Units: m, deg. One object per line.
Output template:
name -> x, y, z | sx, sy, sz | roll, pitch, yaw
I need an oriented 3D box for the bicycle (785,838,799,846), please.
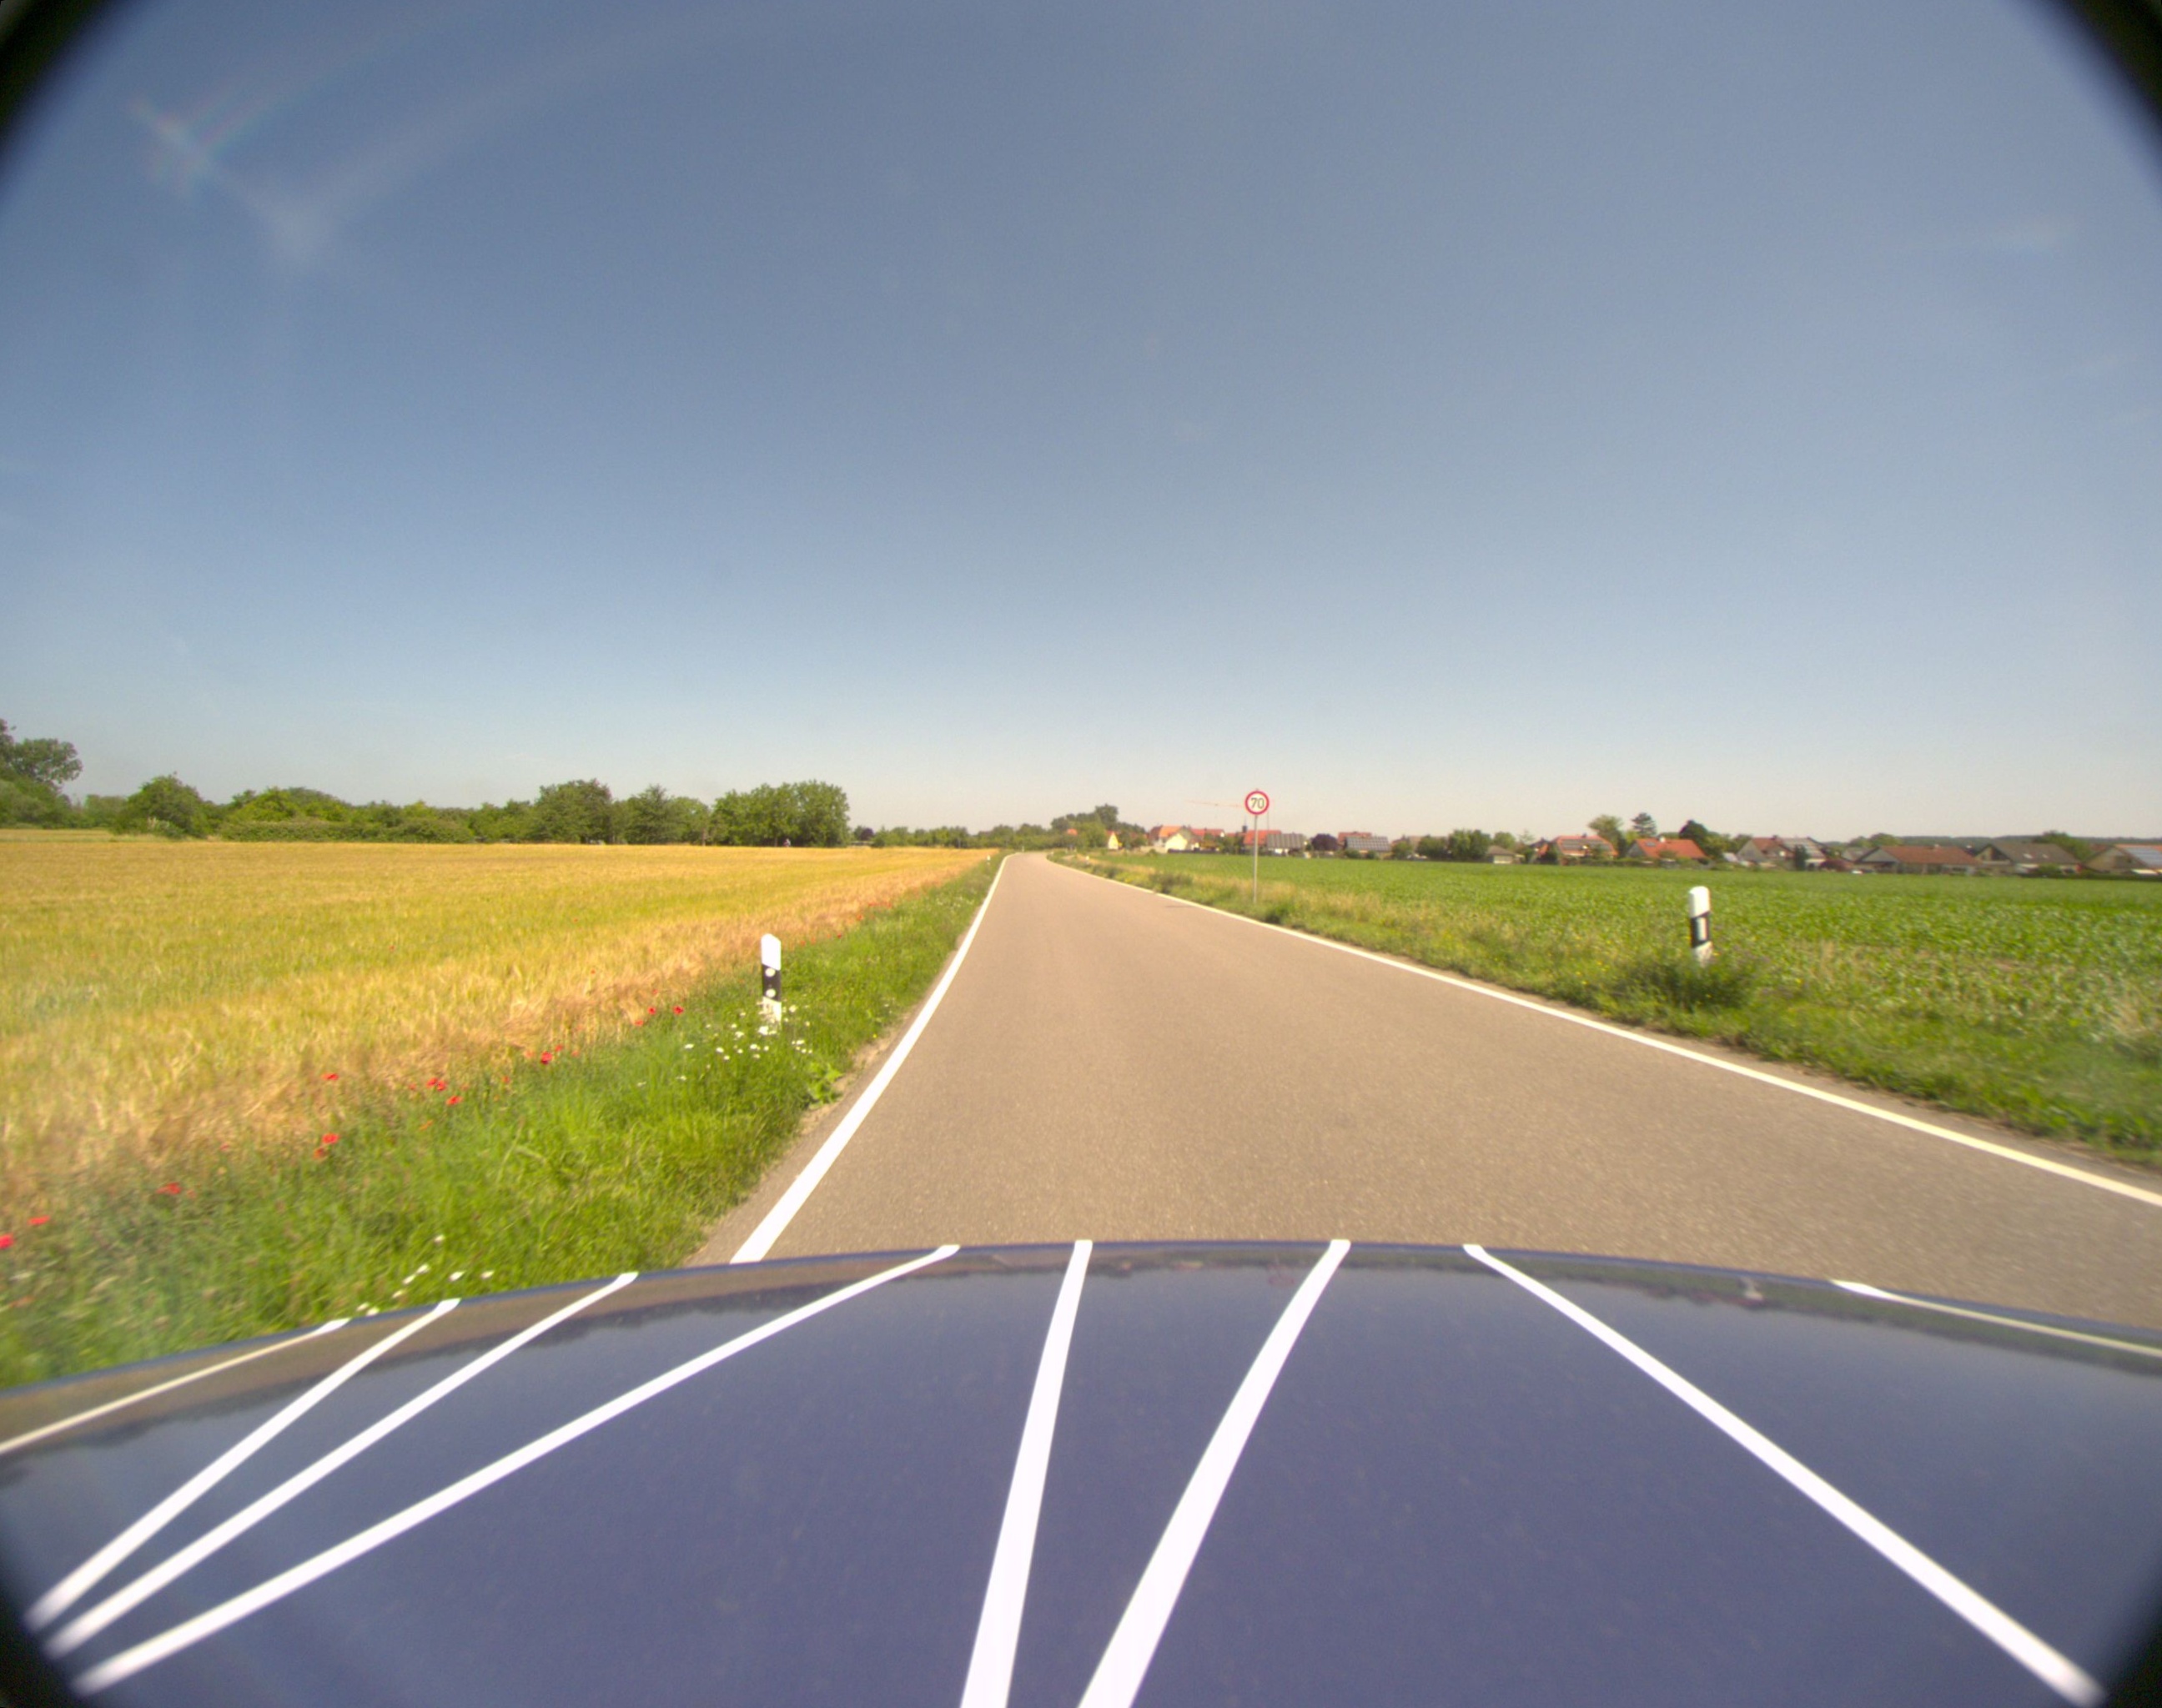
bicycle -> -41.144, -1.651, 108.001 | 1.773, 1.109, 0.520 | 0, 2, -39

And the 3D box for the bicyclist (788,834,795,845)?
bicyclist -> -41.157, -2.037, 107.971 | 0.737, 1.565, 0.672 | 0, 2, -39
